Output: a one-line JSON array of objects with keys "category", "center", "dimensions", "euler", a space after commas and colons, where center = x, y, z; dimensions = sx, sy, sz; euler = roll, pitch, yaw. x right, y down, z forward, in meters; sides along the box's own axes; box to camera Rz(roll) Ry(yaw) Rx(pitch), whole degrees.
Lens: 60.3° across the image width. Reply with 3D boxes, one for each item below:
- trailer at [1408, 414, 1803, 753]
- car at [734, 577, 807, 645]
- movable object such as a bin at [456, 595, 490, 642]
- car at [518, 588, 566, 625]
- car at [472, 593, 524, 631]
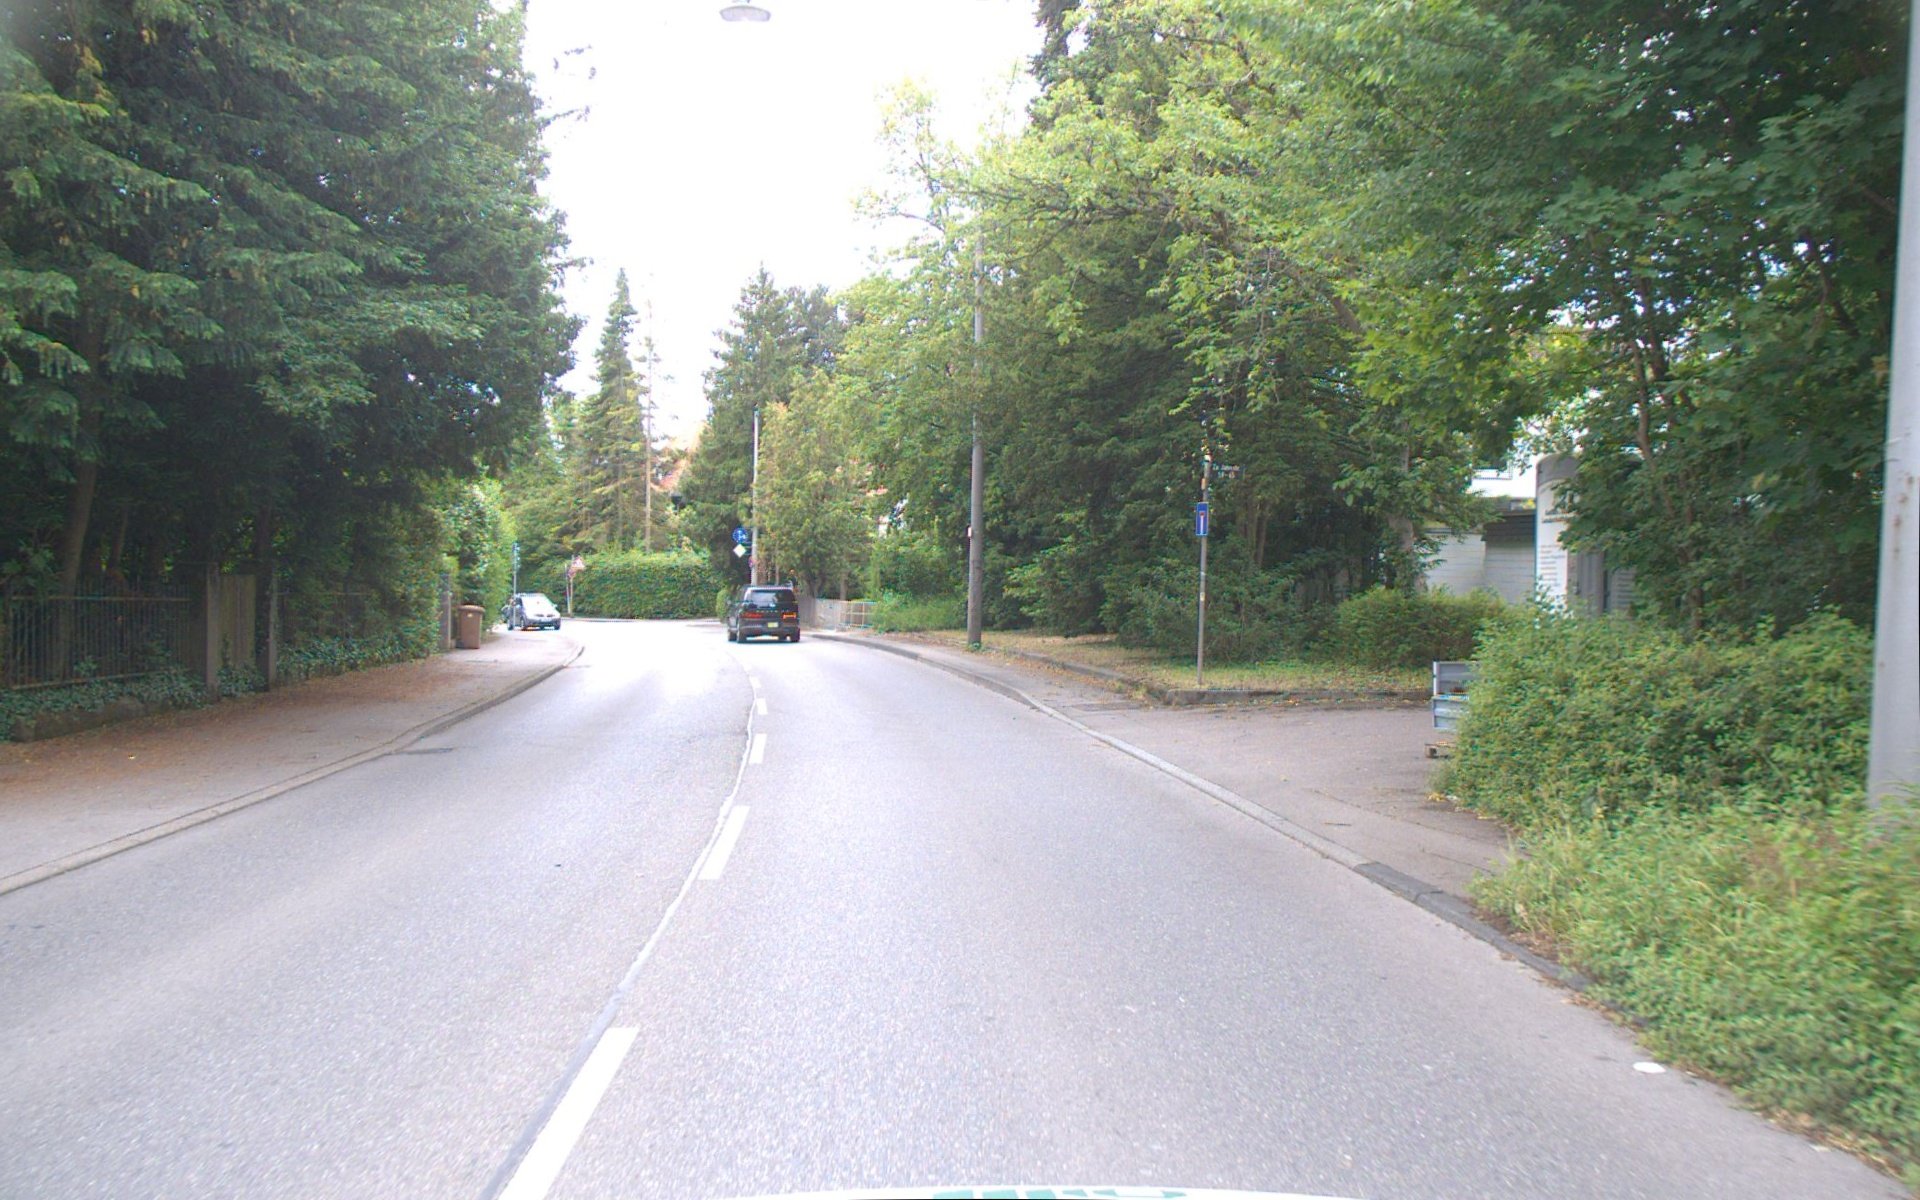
[{"category": "trailer", "center": [5.939, -0.149, 15.396], "dimensions": [3.058, 2.950, 1.590], "euler": [0, 0, -8]}, {"category": "car", "center": [-5.789, 0.296, 51.009], "dimensions": [1.954, 1.914, 3.998], "euler": [1, 1, -3]}, {"category": "movable object such as a bin", "center": [-12.286, 0.461, 41.762], "dimensions": [0.728, 1.161, 0.644], "euler": [2, 0, -13]}, {"category": "car", "center": [-19.392, 0.292, 76.672], "dimensions": [1.962, 1.646, 3.981], "euler": [1, 0, -17]}, {"category": "car", "center": [-20.147, 0.494, 71.980], "dimensions": [1.874, 1.479, 3.775], "euler": [-3, 1, -20]}]
